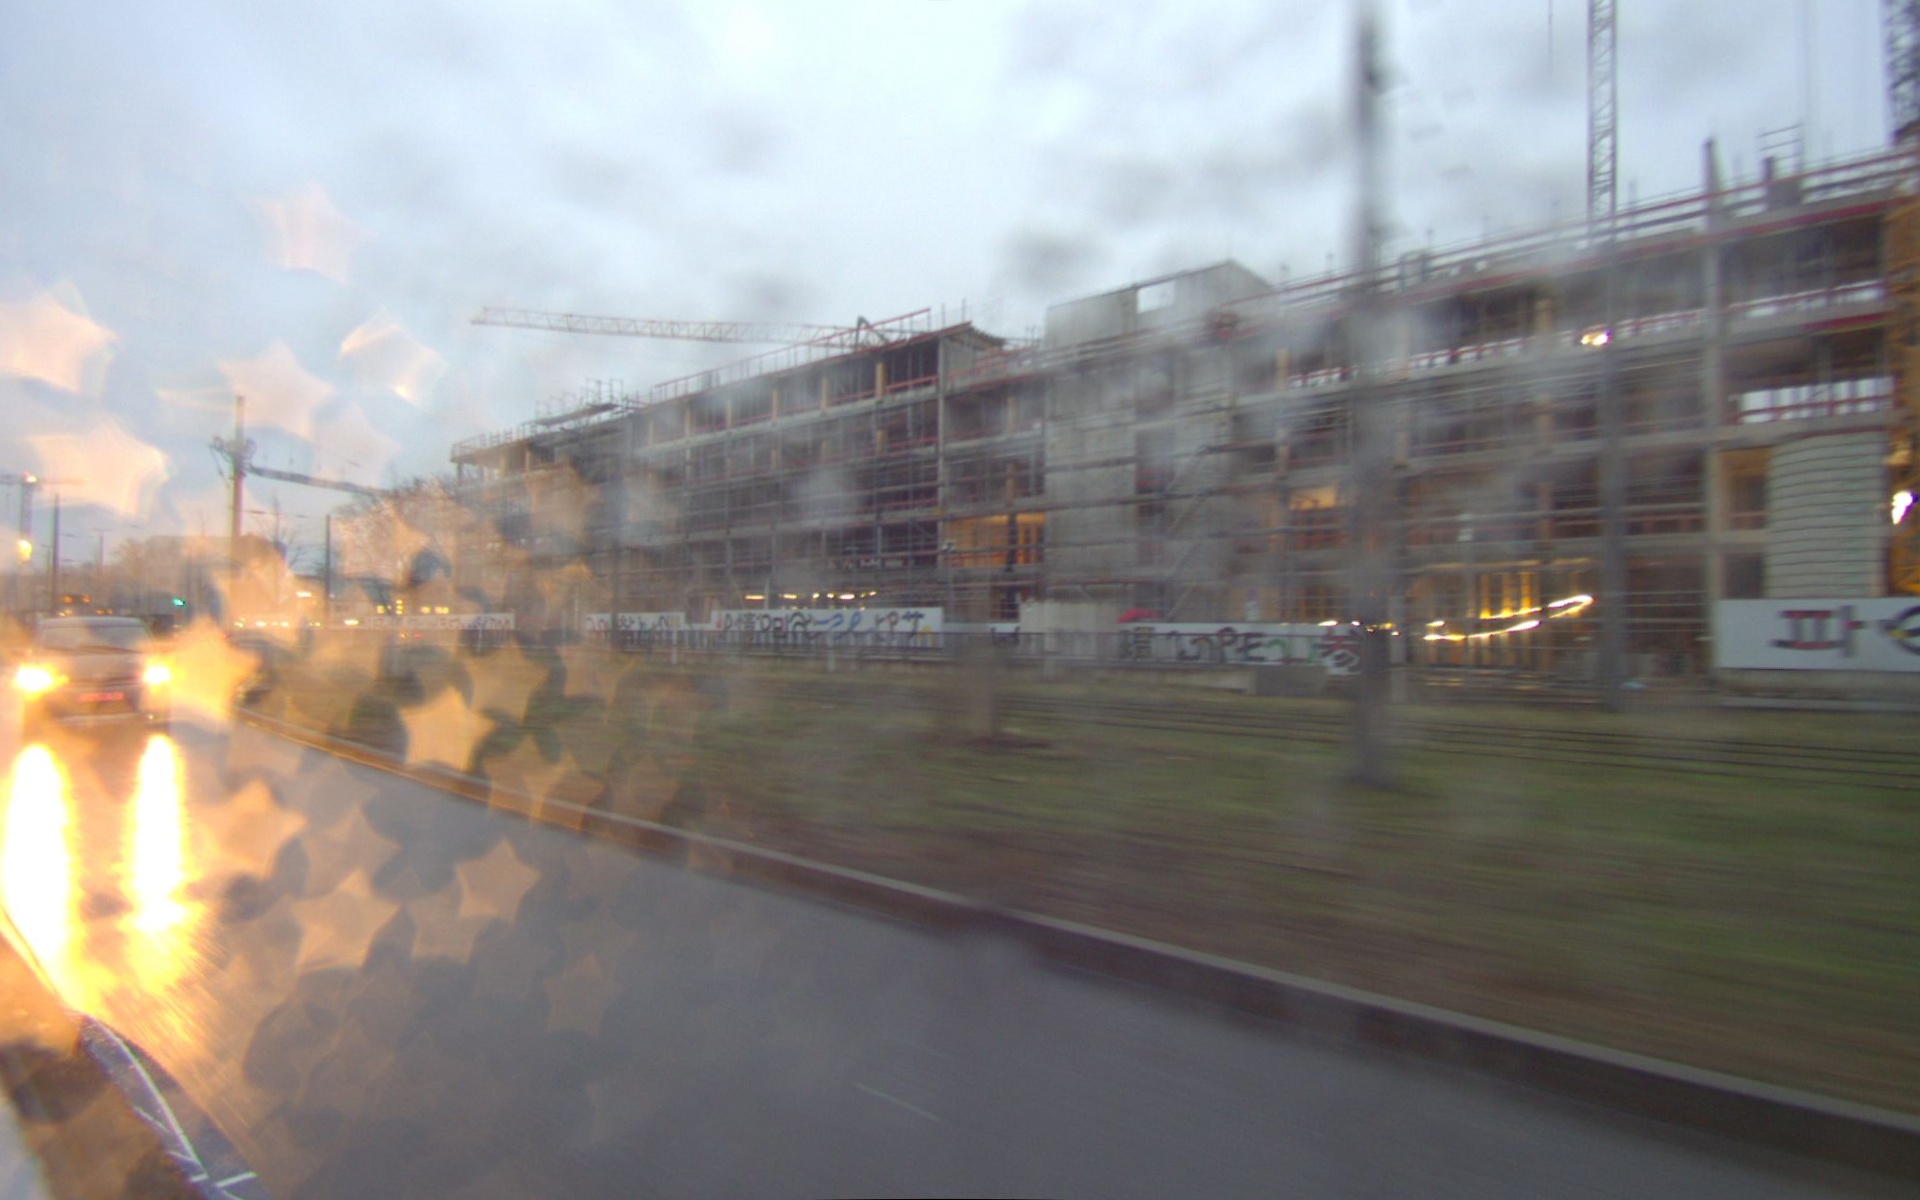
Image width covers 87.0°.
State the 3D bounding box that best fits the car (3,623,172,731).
[{"bbox_3d":[-13.688,1.124,15.890,1.783,1.464,4.009,2,-3,-42],"label":"car"}]

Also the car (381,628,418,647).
[{"bbox_3d":[-50.030,3.359,90.324,3.763,1.675,1.735,-4,-3,42],"label":"car"}]

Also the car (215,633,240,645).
[{"bbox_3d":[-90.326,4.832,124.856,4.339,1.425,1.664,-2,-2,42],"label":"car"}]
